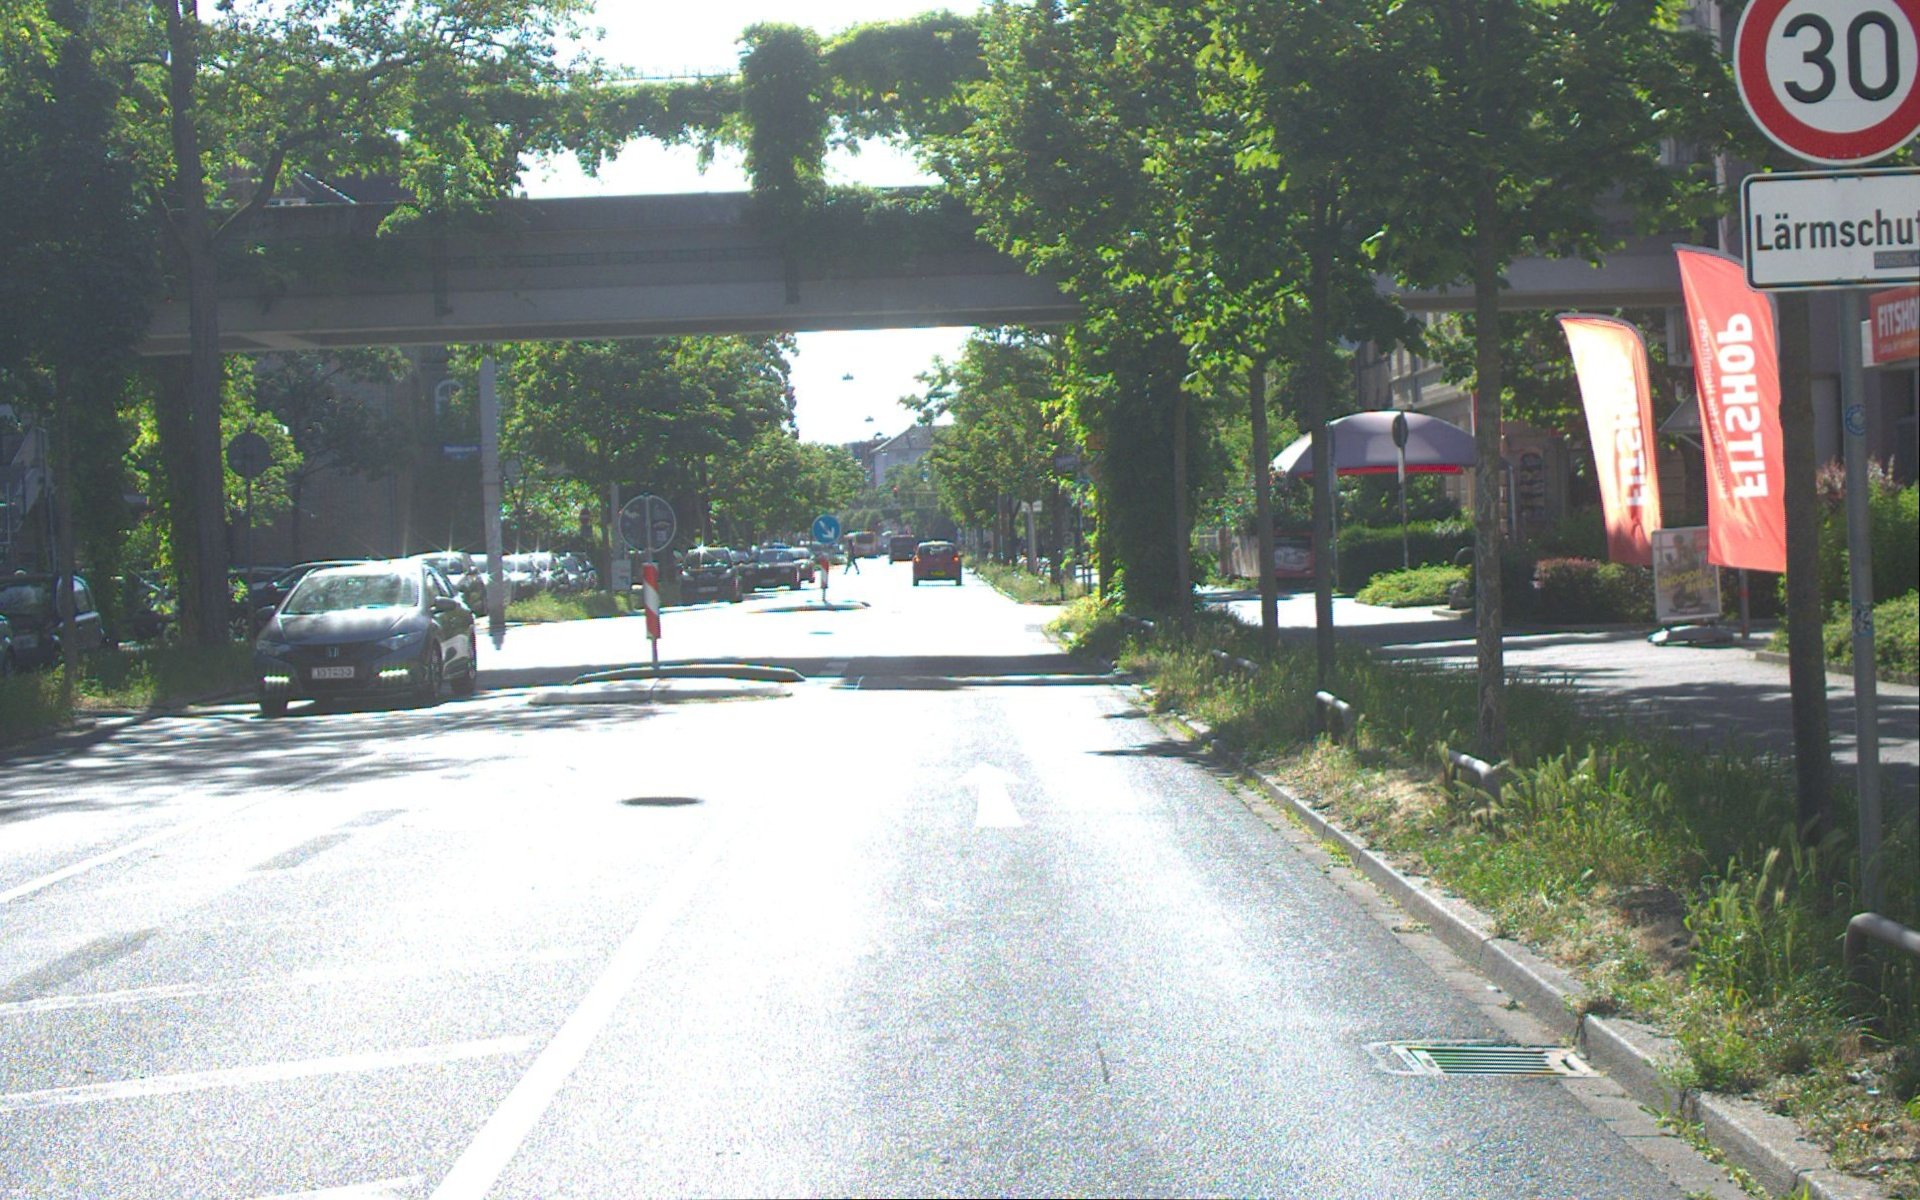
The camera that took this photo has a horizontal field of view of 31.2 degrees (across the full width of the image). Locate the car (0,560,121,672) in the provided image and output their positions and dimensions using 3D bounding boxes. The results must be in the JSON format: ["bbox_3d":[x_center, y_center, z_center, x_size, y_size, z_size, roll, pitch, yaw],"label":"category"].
[{"bbox_3d":[-11.735,0.183,43.084,1.633,1.302,3.583,-1,1,-1],"label":"car"}]

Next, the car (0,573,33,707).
[{"bbox_3d":[-11.961,0.494,38.877,1.855,1.518,4.319,-1,1,-1],"label":"car"}]

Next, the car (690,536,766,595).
[{"bbox_3d":[-6.232,-0.952,92.835,1.855,1.518,4.319,-1,1,-1],"label":"car"}]

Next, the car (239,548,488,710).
[{"bbox_3d":[-6.106,0.251,35.645,1.855,1.435,4.319,-3,1,-1],"label":"car"}]

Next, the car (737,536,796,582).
[{"bbox_3d":[-6.644,-1.430,118.367,1.855,1.518,4.319,-1,1,-1],"label":"car"}]

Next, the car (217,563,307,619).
[{"bbox_3d":[-20.575,-0.285,101.473,1.855,1.518,4.319,-1,1,-1],"label":"car"}]

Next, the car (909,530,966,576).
[{"bbox_3d":[-0.766,-1.649,118.753,1.856,1.518,4.319,-1,1,1],"label":"car"}]

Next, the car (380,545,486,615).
[{"bbox_3d":[-12.086,-0.491,79.056,1.855,1.518,4.319,-1,1,-1],"label":"car"}]
